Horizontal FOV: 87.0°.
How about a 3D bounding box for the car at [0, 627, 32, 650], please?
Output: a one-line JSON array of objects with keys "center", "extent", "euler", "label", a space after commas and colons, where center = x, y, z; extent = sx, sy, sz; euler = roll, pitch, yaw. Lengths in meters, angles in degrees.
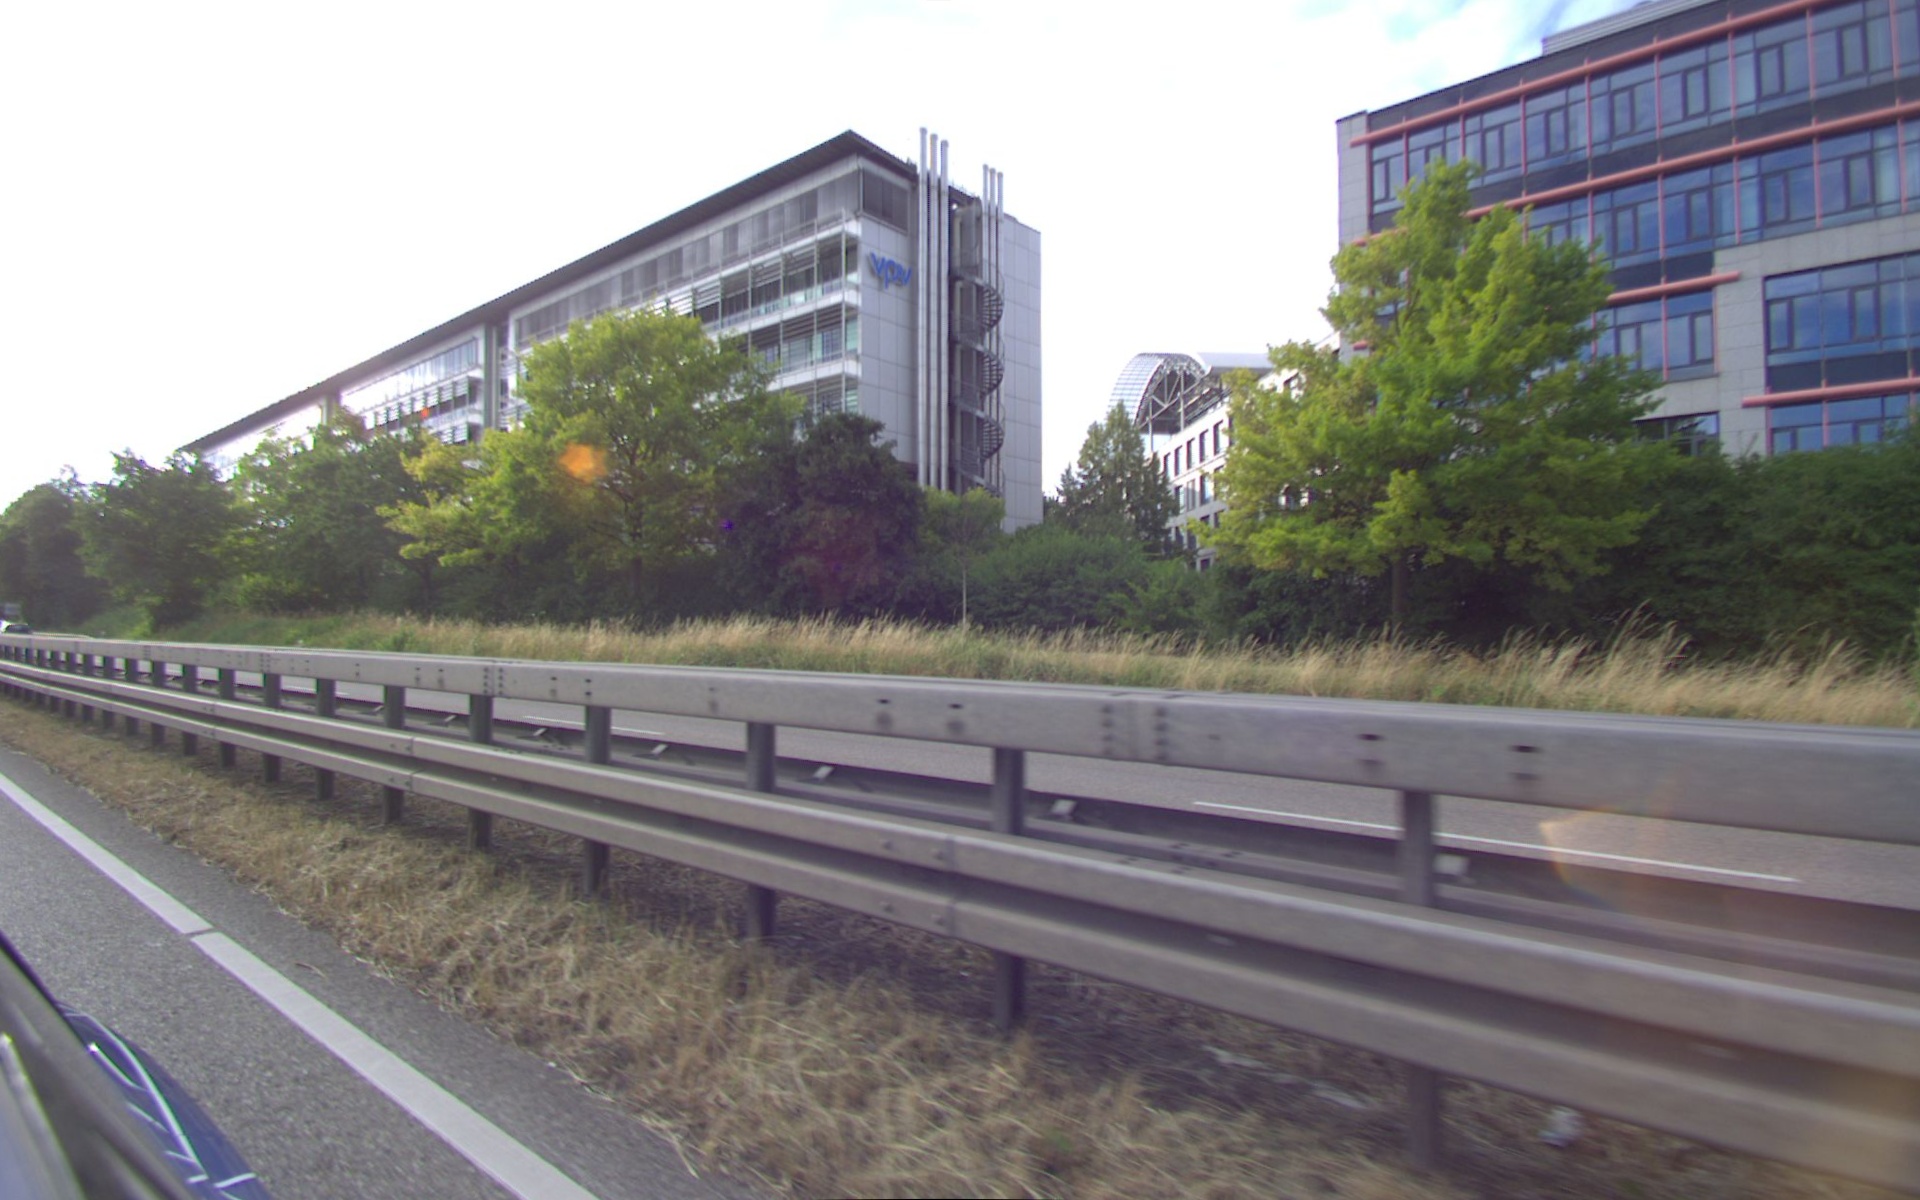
[{"center": [-62.048, 2.516, 65.999], "extent": [4.564, 1.433, 1.738], "euler": [-2, -2, 41], "label": "car"}]
